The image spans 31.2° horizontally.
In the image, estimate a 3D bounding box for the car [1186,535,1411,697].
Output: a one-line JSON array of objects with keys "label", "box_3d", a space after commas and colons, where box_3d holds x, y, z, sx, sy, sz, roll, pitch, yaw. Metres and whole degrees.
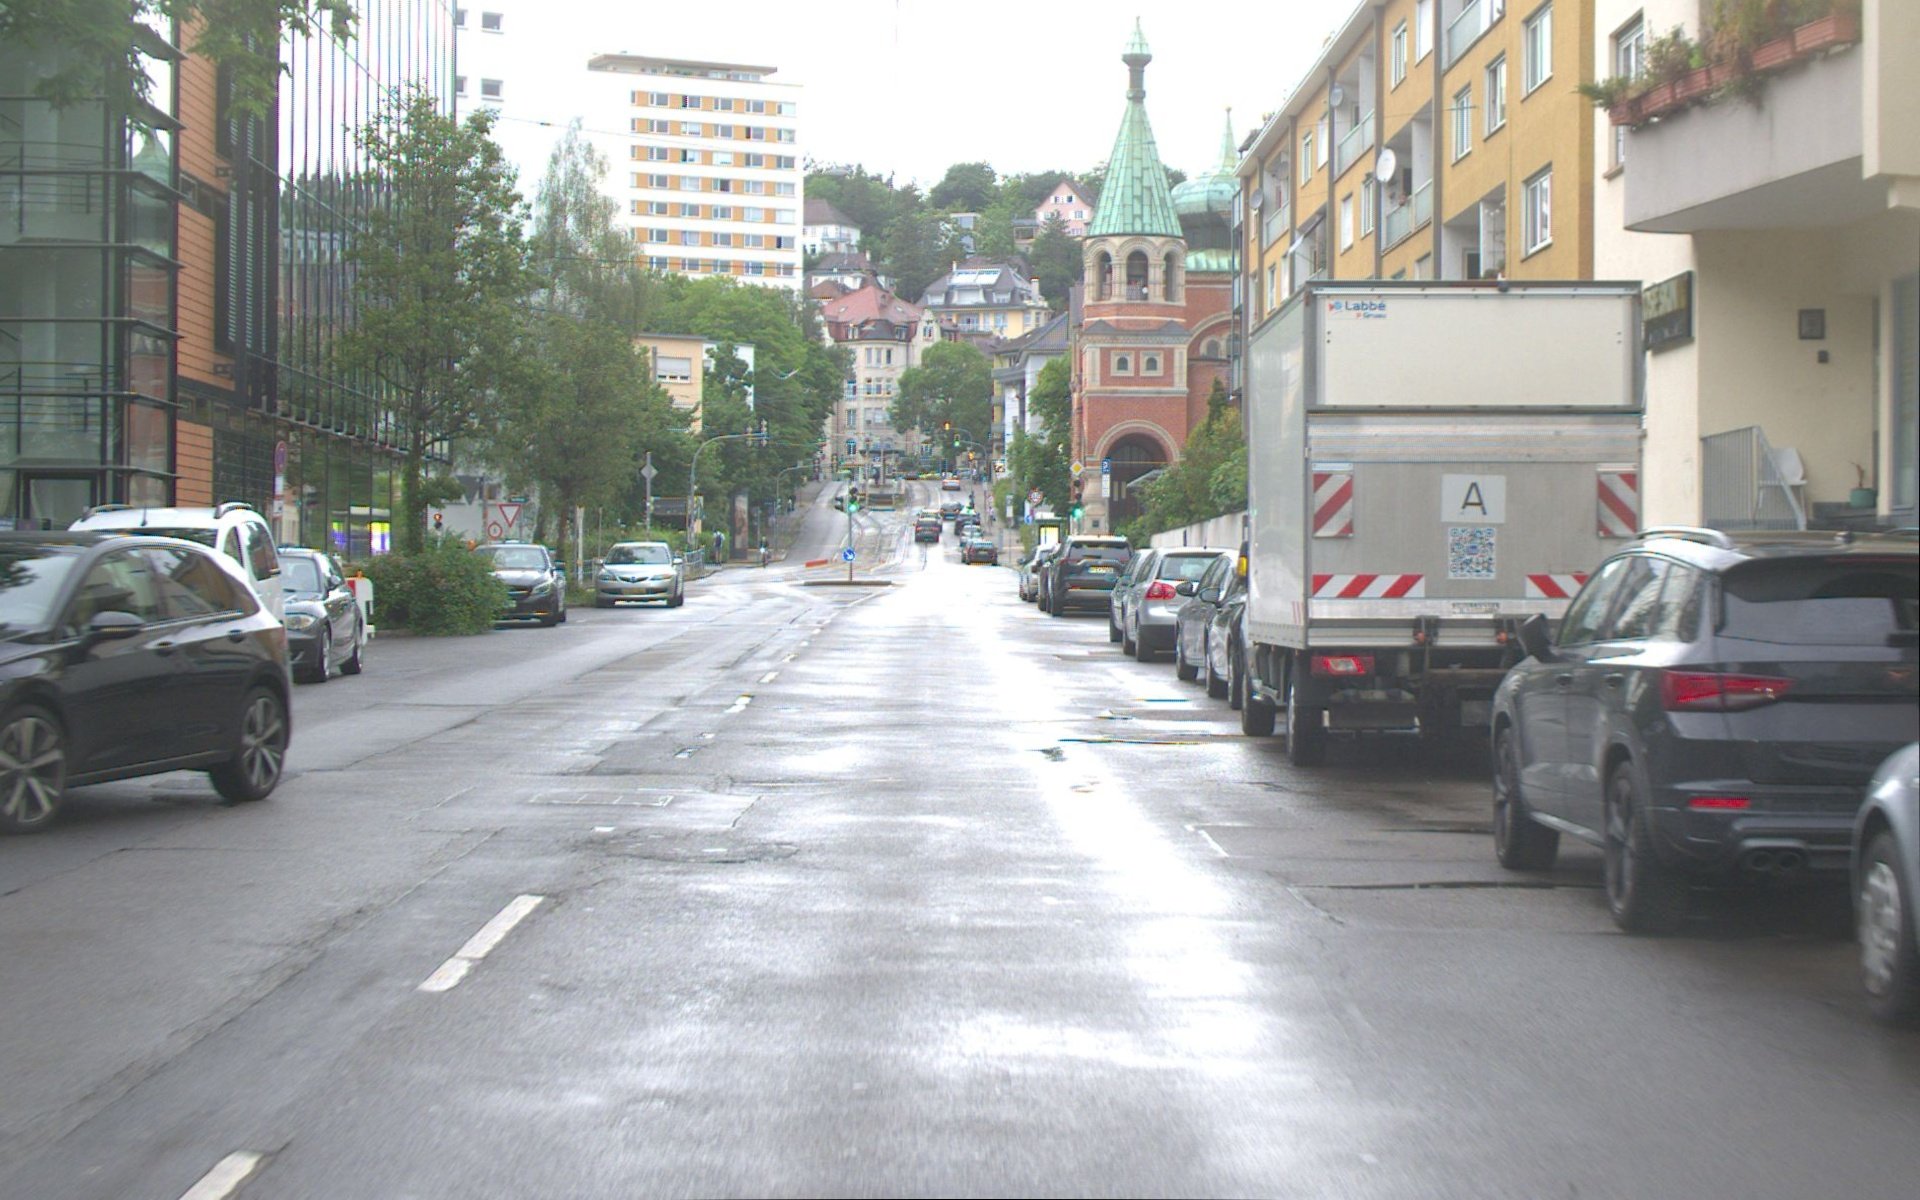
[{"label": "car", "box_3d": [3.124, 0.103, 32.421, 1.663, 1.416, 4.043, 0, 1, -1]}]

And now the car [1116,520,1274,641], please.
[{"label": "car", "box_3d": [3.016, -0.264, 44.775, 1.663, 1.497, 3.922, 0, 1, -2]}]

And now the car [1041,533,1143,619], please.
[{"label": "car", "box_3d": [2.682, -0.513, 70.518, 1.817, 1.647, 4.076, 2, 1, -1]}]

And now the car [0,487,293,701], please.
[{"label": "car", "box_3d": [-7.312, -0.071, 31.243, 1.723, 1.794, 4.344, -1, 1, -1]}]

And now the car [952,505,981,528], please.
[{"label": "car", "box_3d": [0.454, -5.859, 241.749, 1.892, 1.505, 4.000, 2, 1, -1]}]

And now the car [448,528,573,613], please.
[{"label": "car", "box_3d": [-7.887, -0.521, 60.685, 1.803, 1.445, 4.658, 0, 0, -3]}]

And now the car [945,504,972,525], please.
[{"label": "car", "box_3d": [-0.117, -6.405, 257.948, 1.908, 1.505, 4.000, 2, 1, -1]}]

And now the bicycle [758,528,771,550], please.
[{"label": "bicycle", "box_3d": [-10.438, -3.256, 183.546, 0.677, 1.104, 1.800, 0, 0, -3]}]

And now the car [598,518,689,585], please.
[{"label": "car", "box_3d": [-6.966, -1.057, 75.979, 1.709, 1.445, 4.295, 0, 0, -2]}]

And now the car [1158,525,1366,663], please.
[{"label": "car", "box_3d": [3.225, -0.057, 37.410, 1.663, 1.416, 3.922, 0, 0, -4]}]

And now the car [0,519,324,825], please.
[{"label": "car", "box_3d": [-4.959, 0.299, 17.688, 1.806, 1.411, 4.382, 0, 1, 12]}]

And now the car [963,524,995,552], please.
[{"label": "car", "box_3d": [1.126, -3.718, 205.266, 1.732, 1.648, 4.000, 1, 1, 2]}]

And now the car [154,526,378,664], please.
[{"label": "car", "box_3d": [-7.342, -0.068, 36.728, 1.723, 1.371, 4.345, -1, 1, -3]}]

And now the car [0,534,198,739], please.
[{"label": "car", "box_3d": [-7.161, 0.245, 26.597, 1.682, 1.457, 4.277, -1, 1, -2]}]

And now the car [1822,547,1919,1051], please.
[{"label": "car", "box_3d": [3.707, 0.620, 9.304, 1.663, 1.494, 4.098, 0, 1, -1]}]

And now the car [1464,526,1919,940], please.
[{"label": "car", "box_3d": [3.379, 0.465, 15.116, 1.663, 1.568, 4.098, 0, 1, -1]}]

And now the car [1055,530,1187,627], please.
[{"label": "car", "box_3d": [2.380, -0.337, 51.655, 1.663, 1.395, 3.922, 0, 1, -2]}]

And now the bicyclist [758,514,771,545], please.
[{"label": "bicyclist", "box_3d": [-10.433, -3.759, 183.500, 0.677, 1.655, 0.650, 0, 0, -3]}]

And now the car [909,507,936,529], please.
[{"label": "car", "box_3d": [-2.696, -5.917, 247.858, 1.908, 1.505, 4.000, 1, 1, -1]}]

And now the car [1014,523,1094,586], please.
[{"label": "car", "box_3d": [2.374, -1.174, 87.905, 1.817, 1.517, 4.076, 2, 1, -1]}]

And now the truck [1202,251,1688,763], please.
[{"label": "truck", "box_3d": [3.256, -0.622, 24.840, 2.469, 3.161, 7.036, 0, 1, 0]}]
